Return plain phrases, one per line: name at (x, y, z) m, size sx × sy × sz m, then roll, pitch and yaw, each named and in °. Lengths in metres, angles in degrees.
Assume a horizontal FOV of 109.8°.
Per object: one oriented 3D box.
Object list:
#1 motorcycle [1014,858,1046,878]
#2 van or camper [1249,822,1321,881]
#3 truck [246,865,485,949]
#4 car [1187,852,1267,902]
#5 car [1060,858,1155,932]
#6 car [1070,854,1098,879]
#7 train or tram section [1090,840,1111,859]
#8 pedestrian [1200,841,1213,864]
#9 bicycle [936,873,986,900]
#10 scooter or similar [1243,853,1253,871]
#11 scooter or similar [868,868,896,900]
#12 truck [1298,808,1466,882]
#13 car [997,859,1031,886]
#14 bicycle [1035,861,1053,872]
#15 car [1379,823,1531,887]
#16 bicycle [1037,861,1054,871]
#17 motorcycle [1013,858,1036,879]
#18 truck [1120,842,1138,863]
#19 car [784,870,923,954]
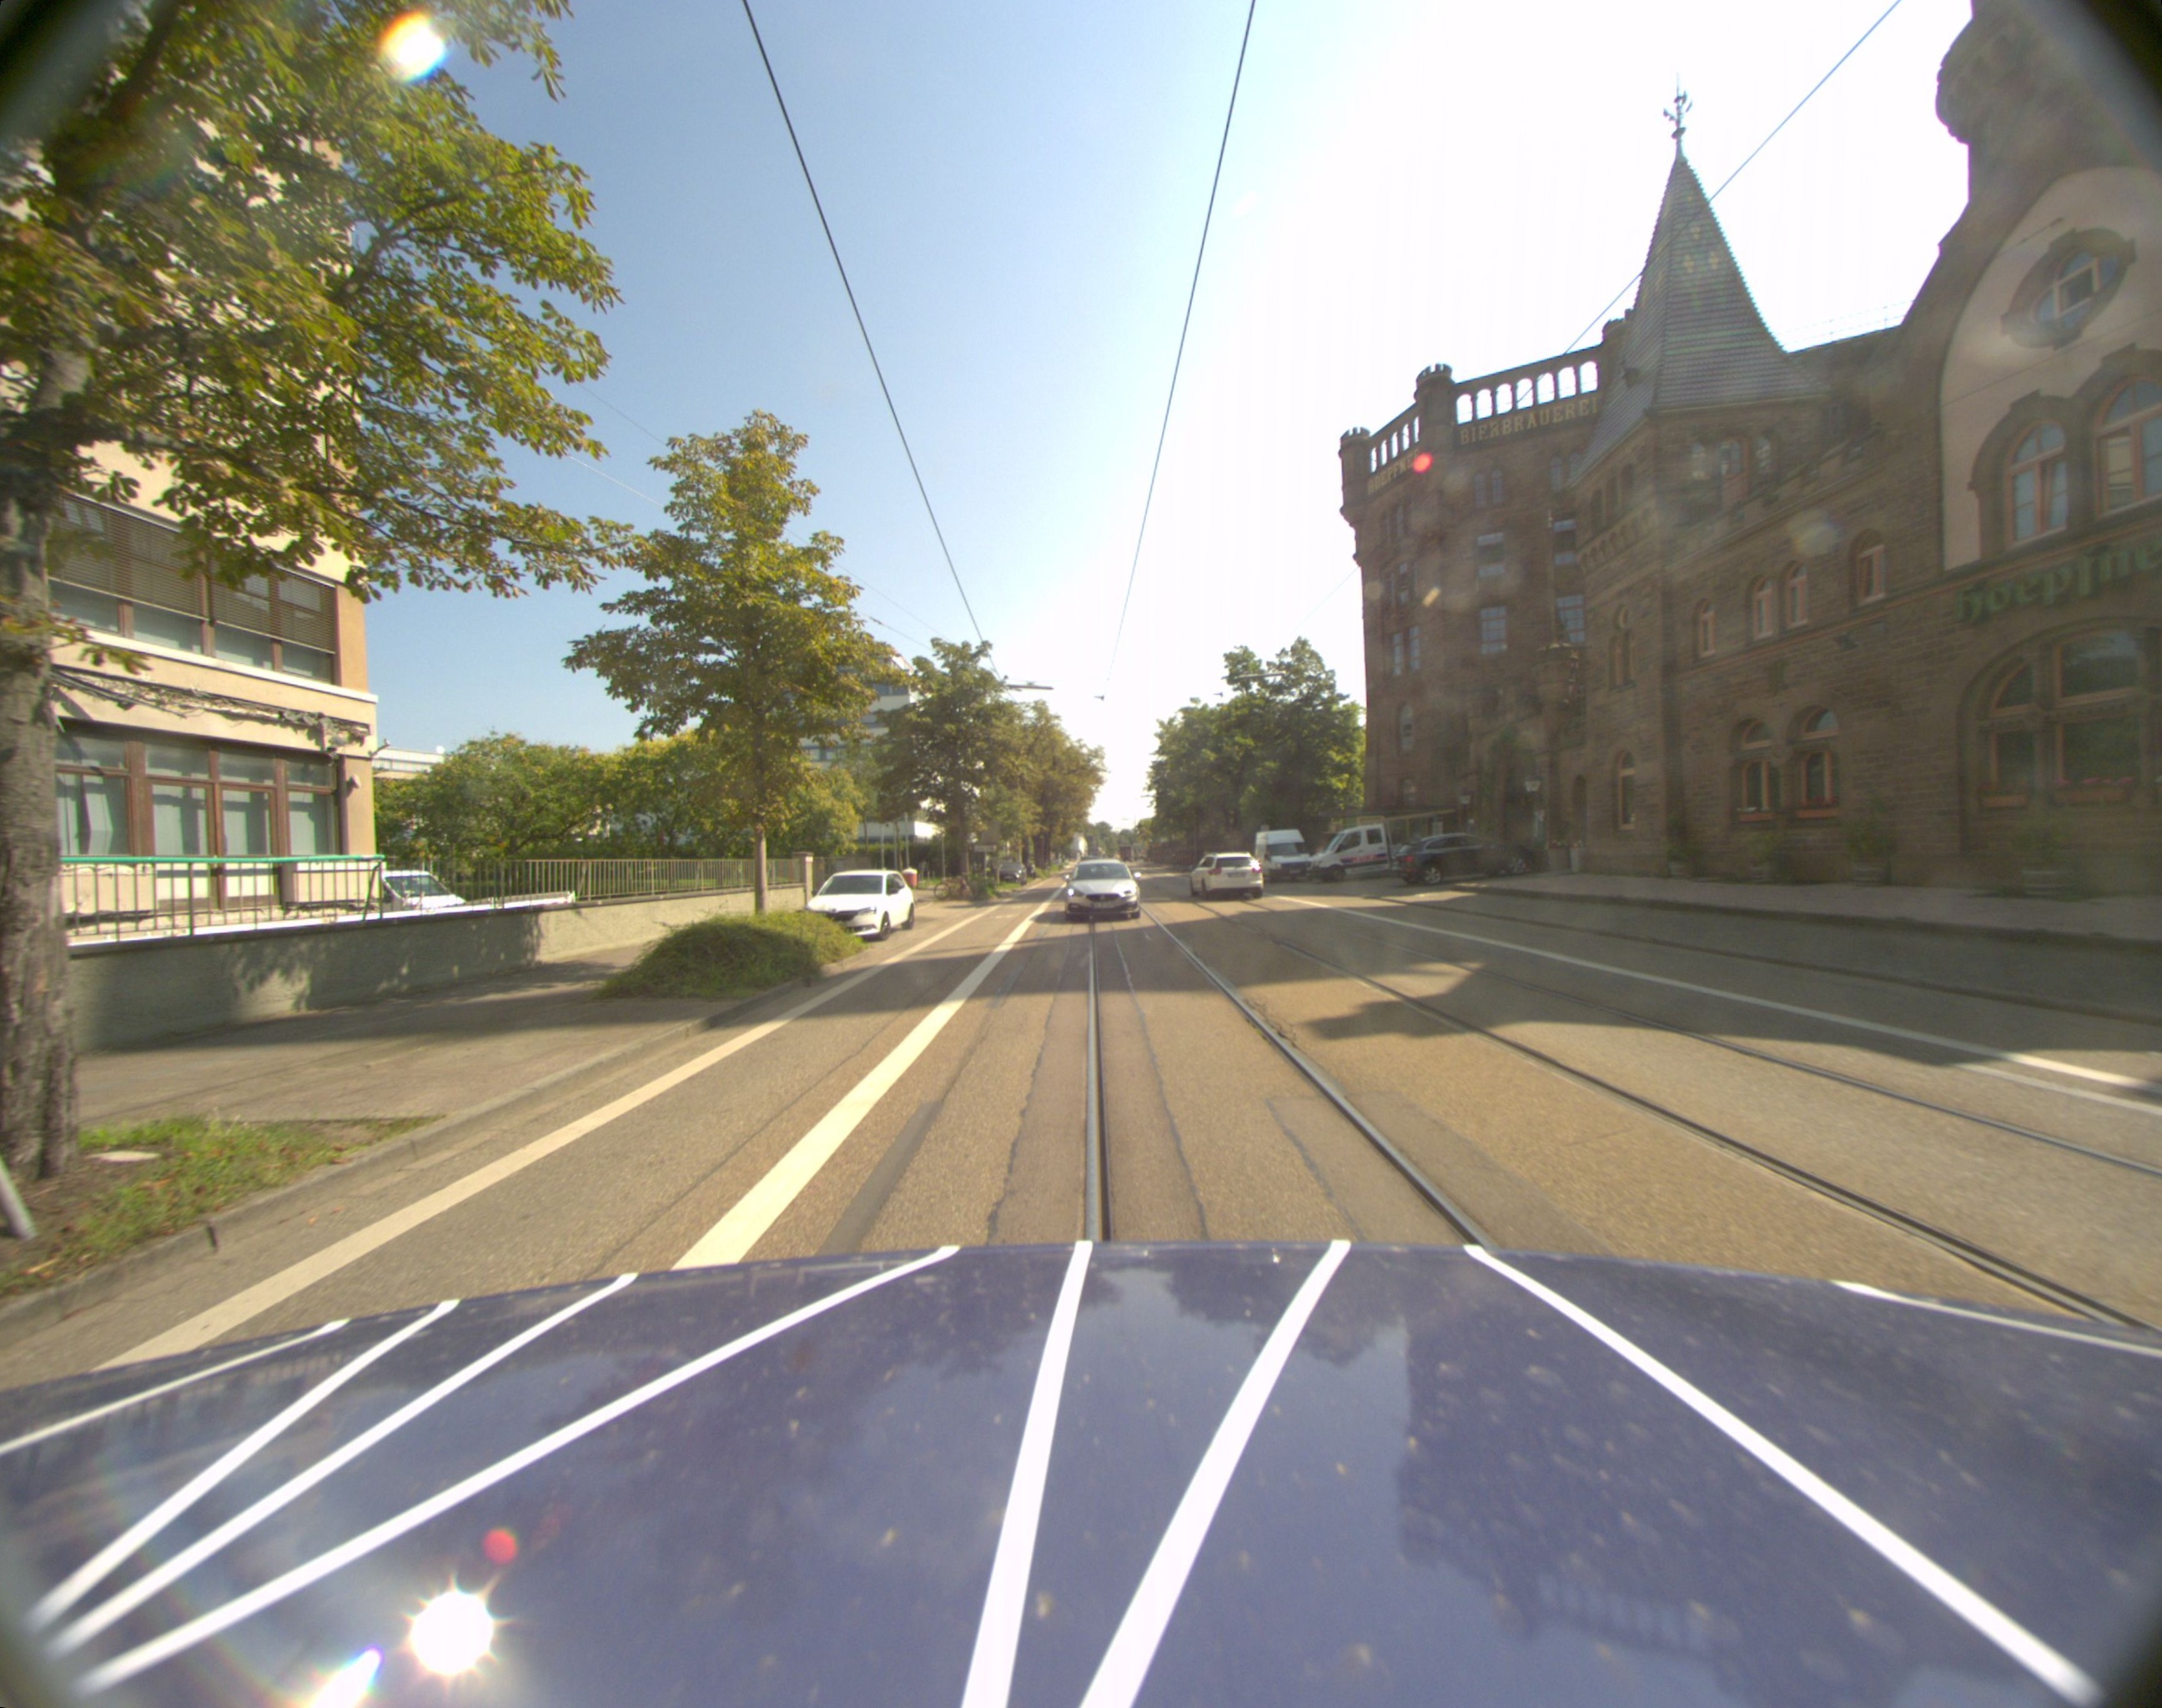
motorcycle at (-3.950, 1.078, 58.386) m, size 2.448 × 1.507 × 0.854 m, roll -3°, pitch 0°, yaw 39°
van or camper at (10.117, -0.116, 38.160) m, size 2.118 × 2.659 × 5.956 m, roll -3°, pitch 0°, yaw 2°
truck at (-22.897, 1.659, 24.487) m, size 5.520 × 2.312 × 2.299 m, roll -3°, pitch 0°, yaw 2°
car at (4.744, 0.697, 25.375) m, size 1.851 × 1.483 × 4.867 m, roll -1°, pitch 0°, yaw 2°
car at (0.579, 0.889, 18.402) m, size 1.928 × 1.465 × 4.817 m, roll -3°, pitch 0°, yaw 0°
car at (0.213, 0.833, 52.472) m, size 1.834 × 1.543 × 4.033 m, roll -3°, pitch 0°, yaw 1°
train or tram section at (4.438, -0.904, 164.855) m, size 4.111 × 3.711 × 24.381 m, roll -3°, pitch 0°, yaw 2°
pedestrian at (11.144, -0.094, 67.677) m, size 0.866 × 2.002 × 0.983 m, roll -3°, pitch 0°, yaw -1°
bicycle at (-4.668, 1.272, 29.606) m, size 1.816 × 0.952 × 0.558 m, roll -3°, pitch 0°, yaw 1°
scooter or similar at (11.339, 0.519, 51.707) m, size 0.340 × 1.172 × 1.180 m, roll -2°, pitch 0°, yaw 26°
scooter or similar at (-8.363, 1.242, 31.990) m, size 0.557 × 1.252 × 1.818 m, roll -3°, pitch 0°, yaw 4°
truck at (13.015, -0.347, 33.256) m, size 6.334 × 2.523 × 2.132 m, roll -5°, pitch -1°, yaw 6°
car at (-4.158, 1.121, 47.722) m, size 1.760 × 1.506 × 4.609 m, roll -1°, pitch 0°, yaw 0°
bicycle at (-3.866, 1.285, 78.863) m, size 1.775 × 1.043 × 0.540 m, roll -1°, pitch 0°, yaw 0°
car at (12.839, 0.040, 26.285) m, size 4.145 × 1.733 × 2.000 m, roll -5°, pitch 0°, yaw 2°
bicycle at (-3.843, 1.284, 81.343) m, size 1.775 × 1.043 × 0.540 m, roll -1°, pitch 0°, yaw 0°
motorcycle at (-4.246, 1.092, 56.691) m, size 0.854 × 1.507 × 2.450 m, roll -3°, pitch 0°, yaw -24°
truck at (11.516, -0.388, 180.943) m, size 3.171 × 4.427 × 16.848 m, roll -3°, pitch 0°, yaw 7°
car at (-4.849, 1.166, 16.847) m, size 1.663 × 1.472 × 4.217 m, roll -2°, pitch 0°, yaw 1°
